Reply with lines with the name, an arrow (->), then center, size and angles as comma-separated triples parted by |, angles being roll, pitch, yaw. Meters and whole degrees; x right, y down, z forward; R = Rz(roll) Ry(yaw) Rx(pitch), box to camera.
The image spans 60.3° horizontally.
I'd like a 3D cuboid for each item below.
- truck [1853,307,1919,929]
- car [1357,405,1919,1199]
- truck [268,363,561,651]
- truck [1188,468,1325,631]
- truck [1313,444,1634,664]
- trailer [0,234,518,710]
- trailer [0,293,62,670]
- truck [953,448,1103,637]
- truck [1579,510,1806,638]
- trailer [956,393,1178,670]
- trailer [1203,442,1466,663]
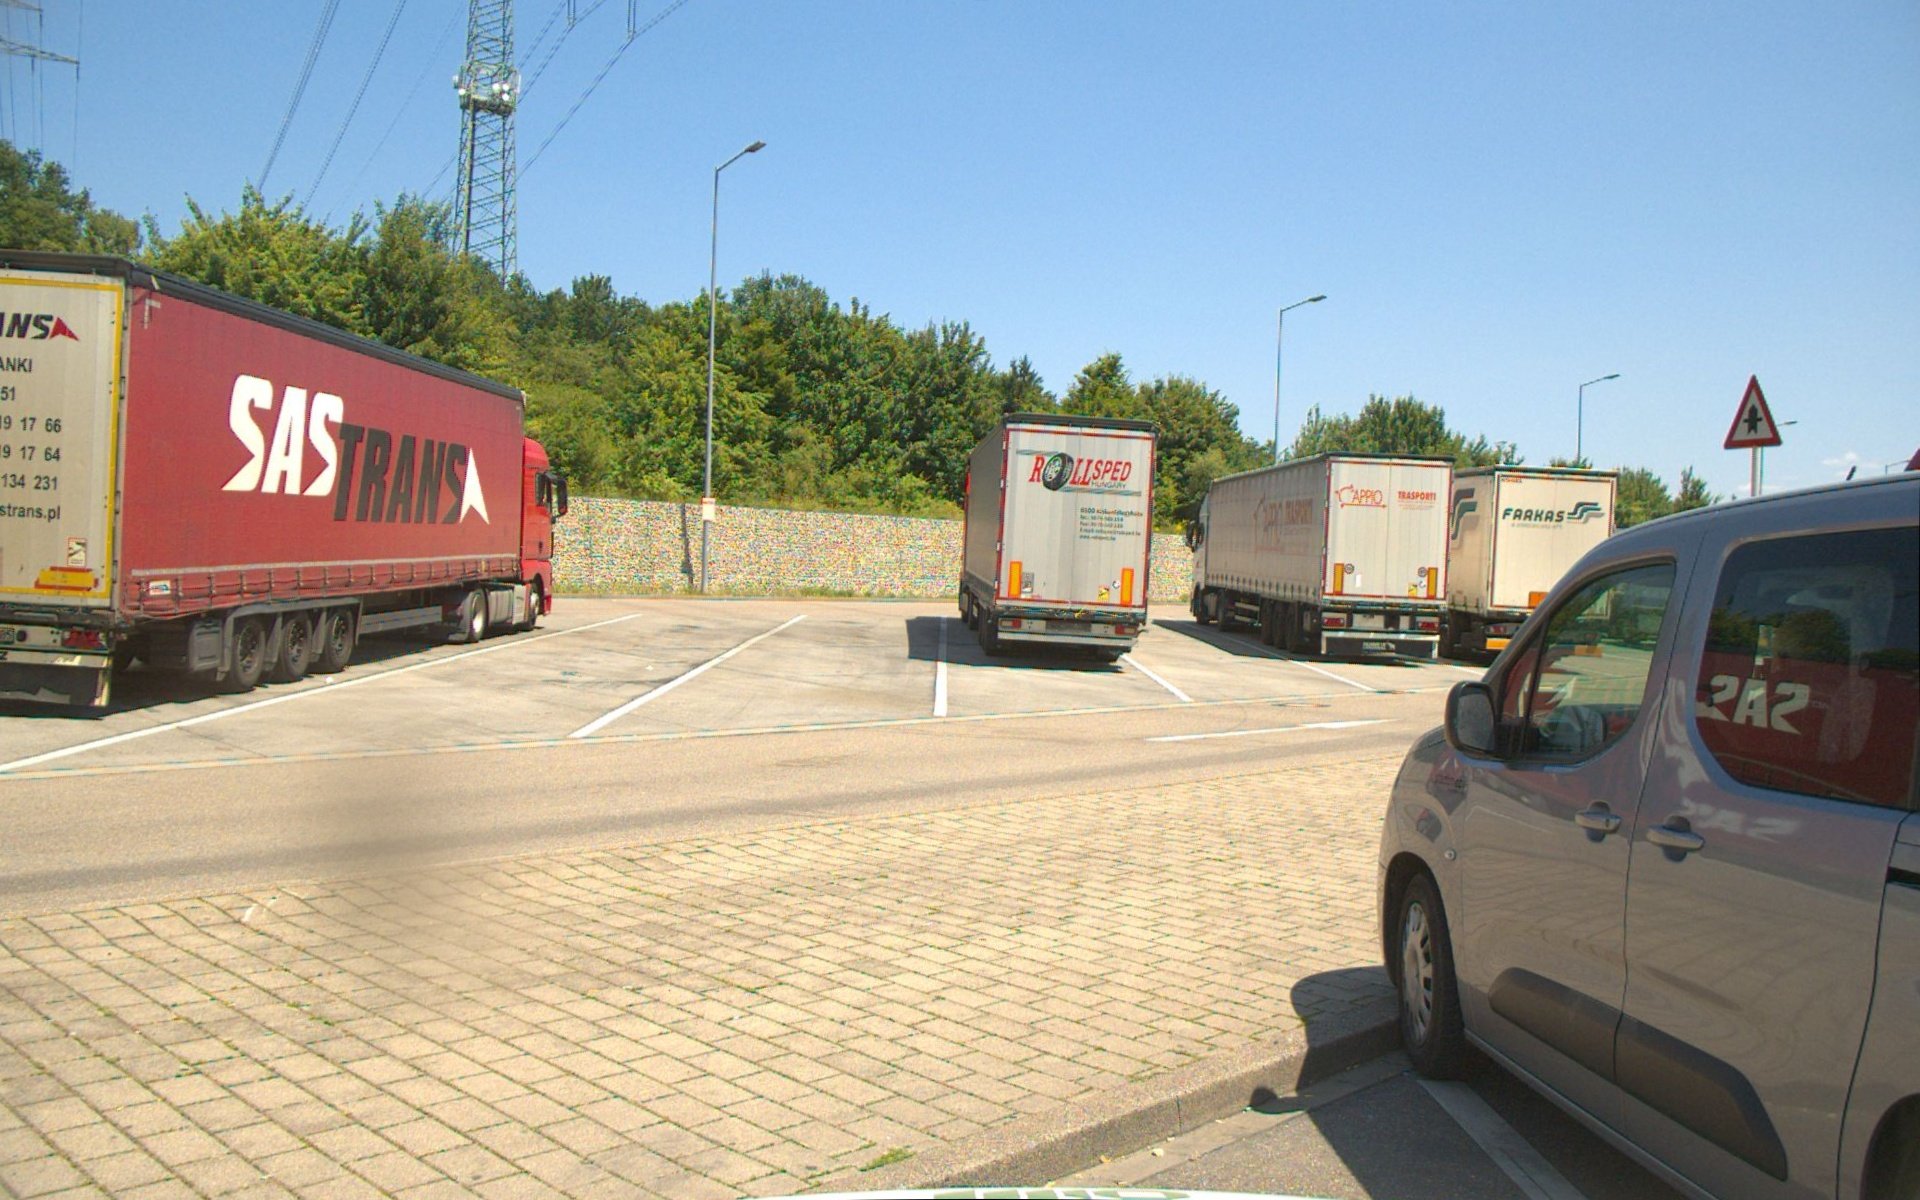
truck -> 4.975, 0.127, 4.944 | 1.952, 2.669, 5.305 | 1, 1, 3
car -> 2.429, 0.555, 3.823 | 1.790, 1.784, 3.997 | 1, 1, -4
truck -> -8.781, -1.425, 27.544 | 2.687, 4.152, 6.828 | 1, 1, -1
truck -> 8.064, -1.363, 45.616 | 2.701, 4.196, 5.283 | 1, 1, -1
truck -> 11.715, -1.056, 40.000 | 2.846, 4.195, 14.525 | 3, 1, -1
trailer -> -8.686, -1.263, 21.062 | 2.694, 4.128, 13.284 | 1, 1, -1
trailer -> -12.414, -1.313, 15.453 | 2.689, 4.337, 9.733 | 1, 1, 0
truck -> 1.460, -1.384, 39.450 | 2.965, 3.997, 6.845 | 2, 2, -2
truck -> 21.950, -0.813, 50.193 | 2.963, 3.497, 8.529 | 1, 1, -1
trailer -> 1.693, -1.318, 32.685 | 3.008, 4.301, 12.805 | 2, 2, -2
trailer -> 8.198, -1.053, 38.617 | 2.818, 4.196, 13.569 | 1, 1, -1
